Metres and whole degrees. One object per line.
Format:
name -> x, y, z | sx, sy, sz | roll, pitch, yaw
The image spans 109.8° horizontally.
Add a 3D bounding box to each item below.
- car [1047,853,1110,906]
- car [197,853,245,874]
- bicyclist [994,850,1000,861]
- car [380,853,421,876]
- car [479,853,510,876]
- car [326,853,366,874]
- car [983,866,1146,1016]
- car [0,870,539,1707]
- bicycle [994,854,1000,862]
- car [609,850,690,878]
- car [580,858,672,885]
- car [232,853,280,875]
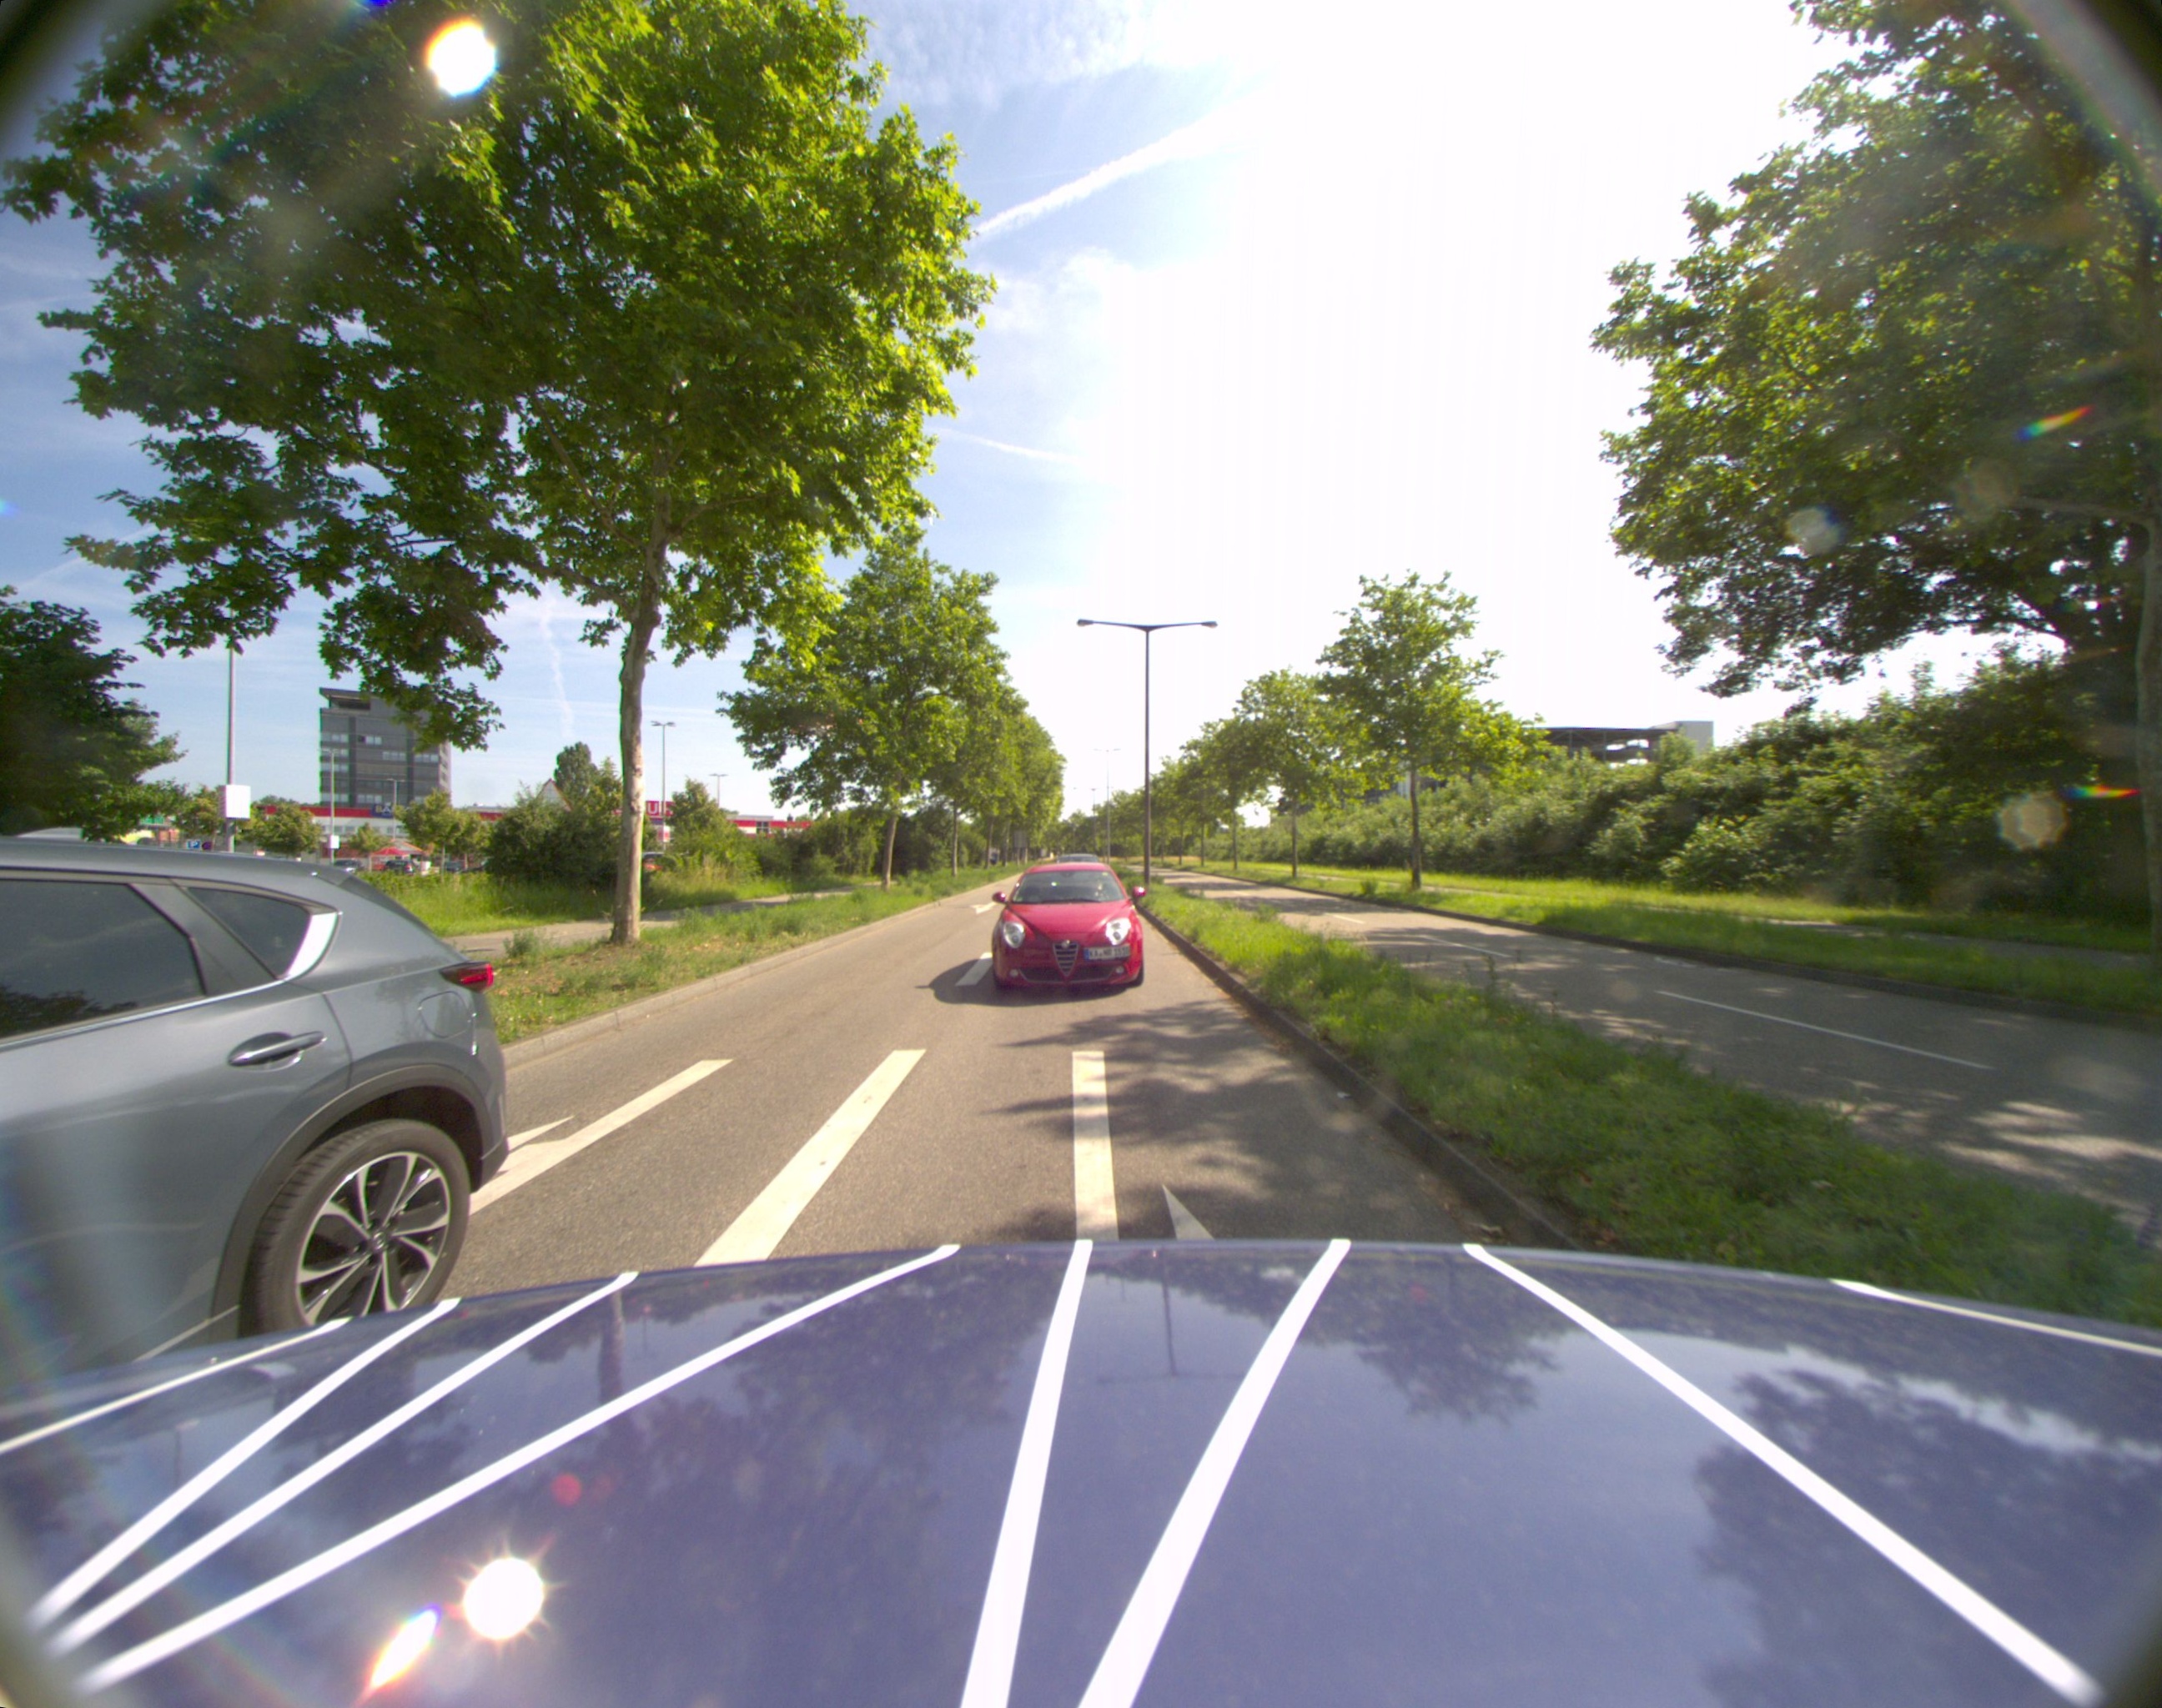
car -> -0.068, 0.765, 24.583 | 1.874, 1.536, 4.081 | -1, 0, 0
car -> -68.074, 0.745, 60.212 | 1.693, 1.565, 3.989 | 0, 1, -36
bicyclist -> -12.396, 0.271, 112.131 | 0.687, 1.622, 1.002 | 0, 1, 0
car -> -47.946, 0.710, 53.584 | 1.693, 1.565, 3.989 | 0, 1, -36
car -> -43.443, 0.748, 56.357 | 1.693, 1.565, 3.989 | 0, 1, -36
car -> -58.249, 0.746, 60.268 | 1.693, 1.565, 3.989 | 0, 1, -36
car -> -0.164, 0.937, 9.873 | 1.658, 1.430, 3.907 | -2, 0, 0
car -> -3.082, 0.930, 0.803 | 1.770, 1.649, 4.495 | -2, 0, -1
bicycle -> -12.396, 0.592, 112.111 | 0.687, 1.230, 1.934 | 0, 1, 0
car -> -25.204, 0.547, 44.405 | 3.870, 1.576, 1.844 | 0, 1, -38
car -> -22.854, 0.846, 38.266 | 3.564, 1.292, 1.766 | 0, 1, -7
car -> -62.157, 0.703, 57.307 | 1.693, 1.565, 3.989 | 0, 1, -36
